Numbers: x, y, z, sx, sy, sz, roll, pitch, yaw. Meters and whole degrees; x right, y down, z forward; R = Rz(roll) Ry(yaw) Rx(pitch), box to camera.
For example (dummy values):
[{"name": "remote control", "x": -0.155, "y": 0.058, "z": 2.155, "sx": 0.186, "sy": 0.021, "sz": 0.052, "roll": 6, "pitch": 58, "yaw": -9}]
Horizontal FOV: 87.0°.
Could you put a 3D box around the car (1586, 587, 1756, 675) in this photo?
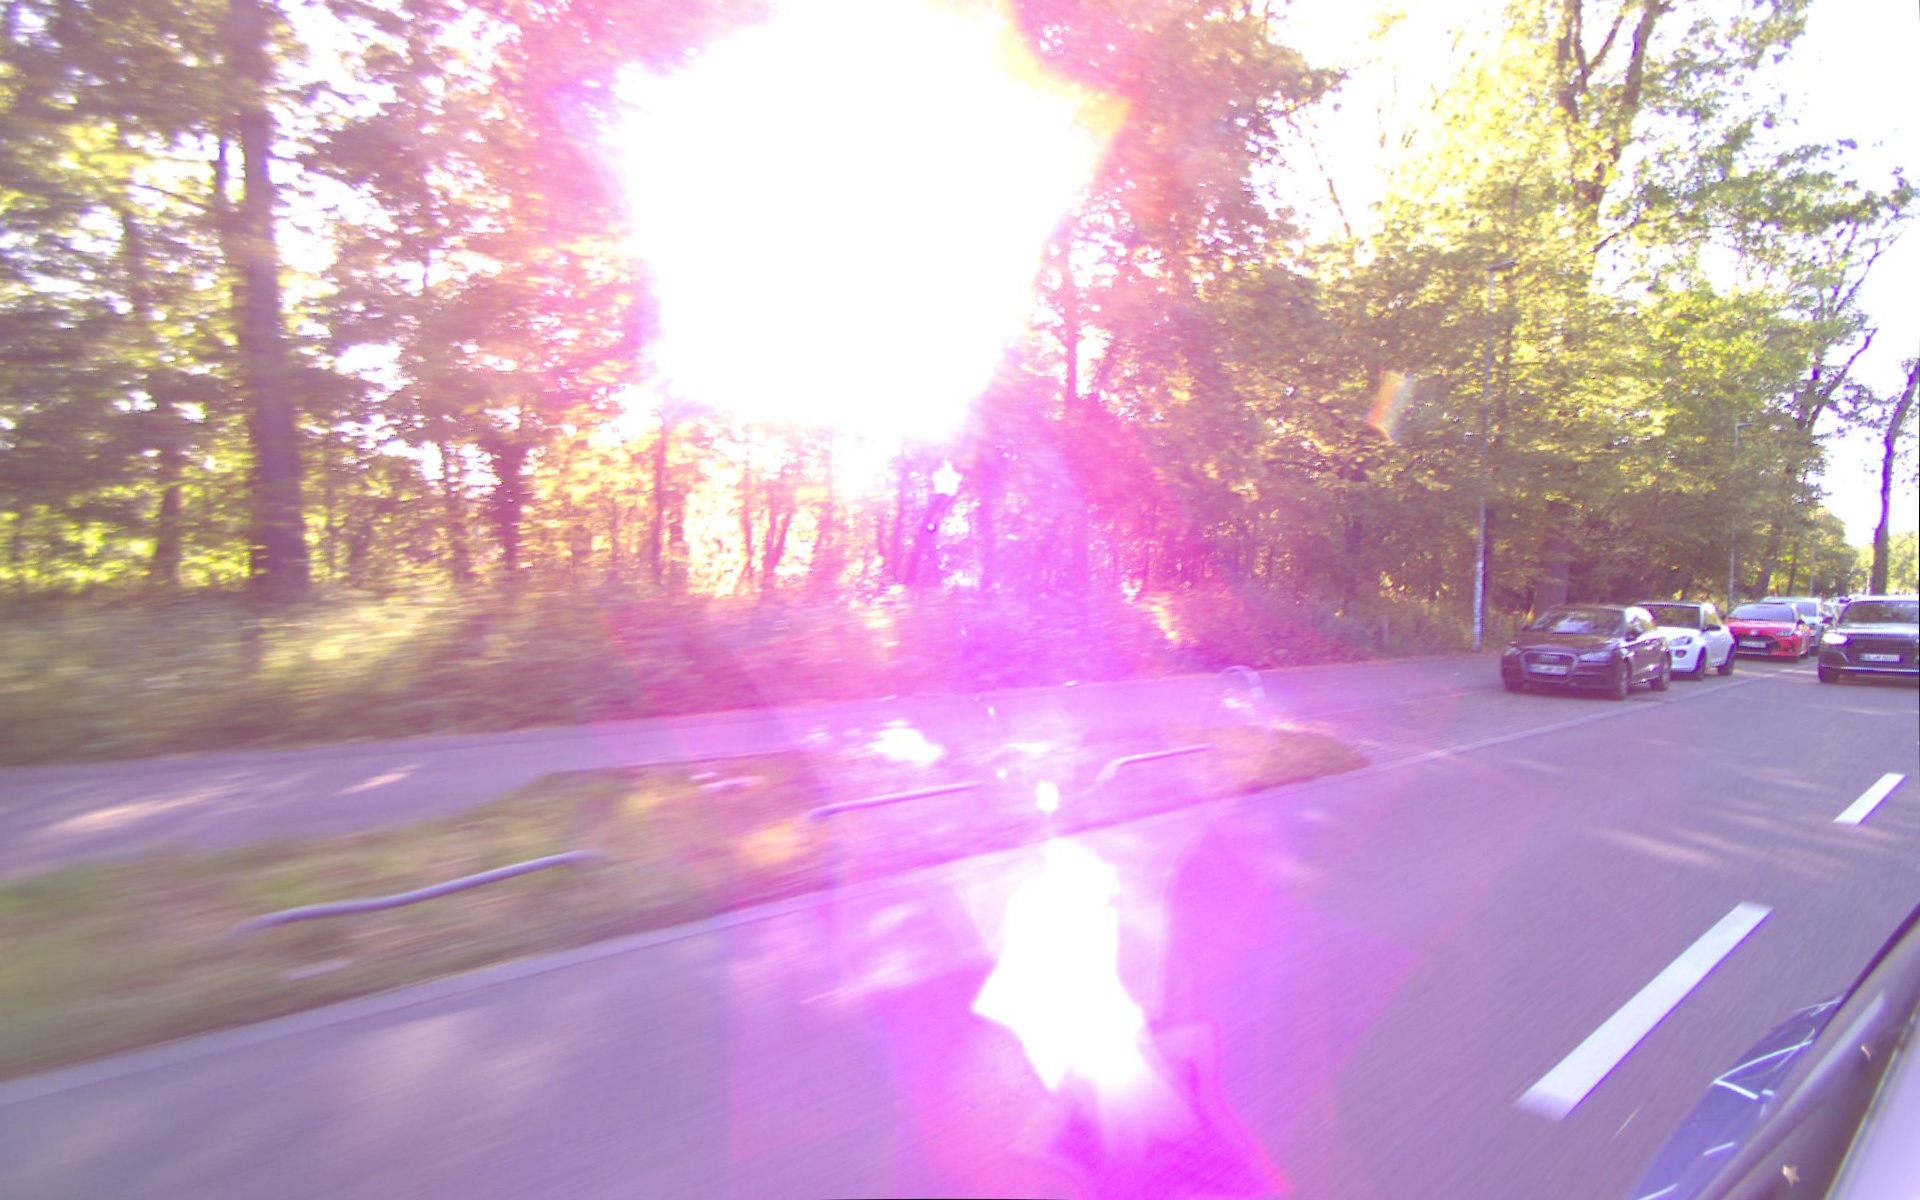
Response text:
[{"name": "car", "x": 14.337, "y": 0.552, "z": 20.328, "sx": 4.210, "sy": 1.474, "sz": 1.856, "roll": 0, "pitch": 4, "yaw": -42}]

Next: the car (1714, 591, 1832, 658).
[{"name": "car", "x": 21.220, "y": 0.560, "z": 26.348, "sx": 4.391, "sy": 1.474, "sz": 1.855, "roll": 0, "pitch": 4, "yaw": -45}]

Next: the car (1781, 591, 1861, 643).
[{"name": "car", "x": 28.594, "y": 0.519, "z": 33.580, "sx": 3.845, "sy": 1.540, "sz": 1.597, "roll": 0, "pitch": 4, "yaw": -44}]

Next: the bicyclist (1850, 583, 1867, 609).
[{"name": "bicyclist", "x": 58.333, "y": -0.265, "z": 65.690, "sx": 0.861, "sy": 1.580, "sz": 0.702, "roll": -1, "pitch": 3, "yaw": -44}]

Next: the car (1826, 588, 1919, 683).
[{"name": "car", "x": 18.068, "y": 0.626, "z": 19.307, "sx": 3.932, "sy": 1.638, "sz": 1.859, "roll": 0, "pitch": 2, "yaw": -42}]

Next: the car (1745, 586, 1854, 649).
[{"name": "car", "x": 24.771, "y": 0.449, "z": 29.799, "sx": 4.643, "sy": 1.604, "sz": 1.856, "roll": 0, "pitch": 4, "yaw": -43}]

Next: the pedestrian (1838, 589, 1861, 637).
[{"name": "pedestrian", "x": 34.102, "y": 0.493, "z": 38.807, "sx": 0.509, "sy": 1.778, "sz": 0.727, "roll": 3, "pitch": 2, "yaw": 33}]

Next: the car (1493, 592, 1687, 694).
[{"name": "car", "x": 10.290, "y": 0.607, "z": 16.430, "sx": 3.880, "sy": 1.409, "sz": 1.737, "roll": 0, "pitch": 2, "yaw": -43}]
